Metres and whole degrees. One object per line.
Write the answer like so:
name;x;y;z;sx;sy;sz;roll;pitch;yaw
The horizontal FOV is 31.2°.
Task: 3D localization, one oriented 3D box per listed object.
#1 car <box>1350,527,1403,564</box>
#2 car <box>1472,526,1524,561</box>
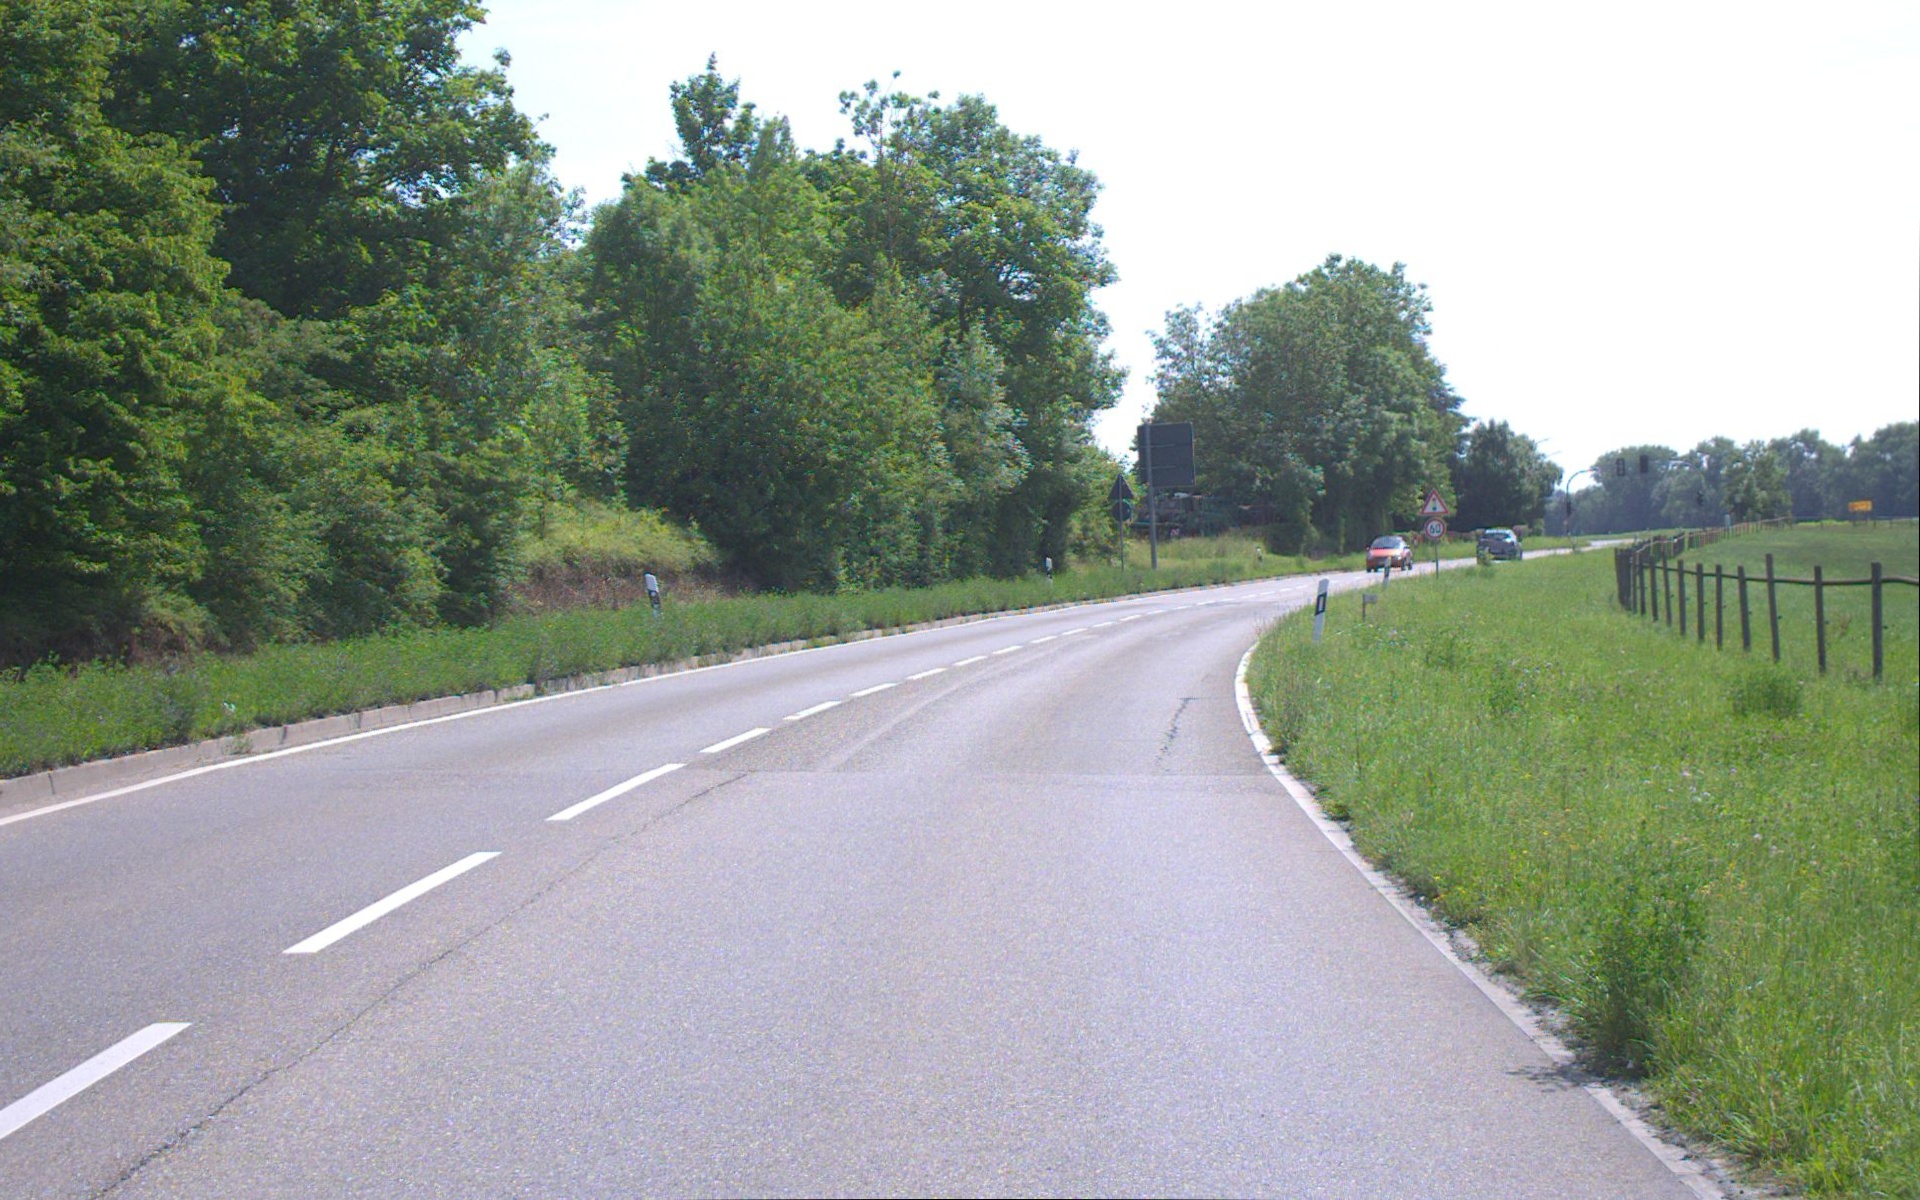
car;17.006;-2.250;140.290;1.822;1.464;3.998;1;1;12
car;24.629;-2.595;157.268;1.995;1.568;3.997;1;1;14
